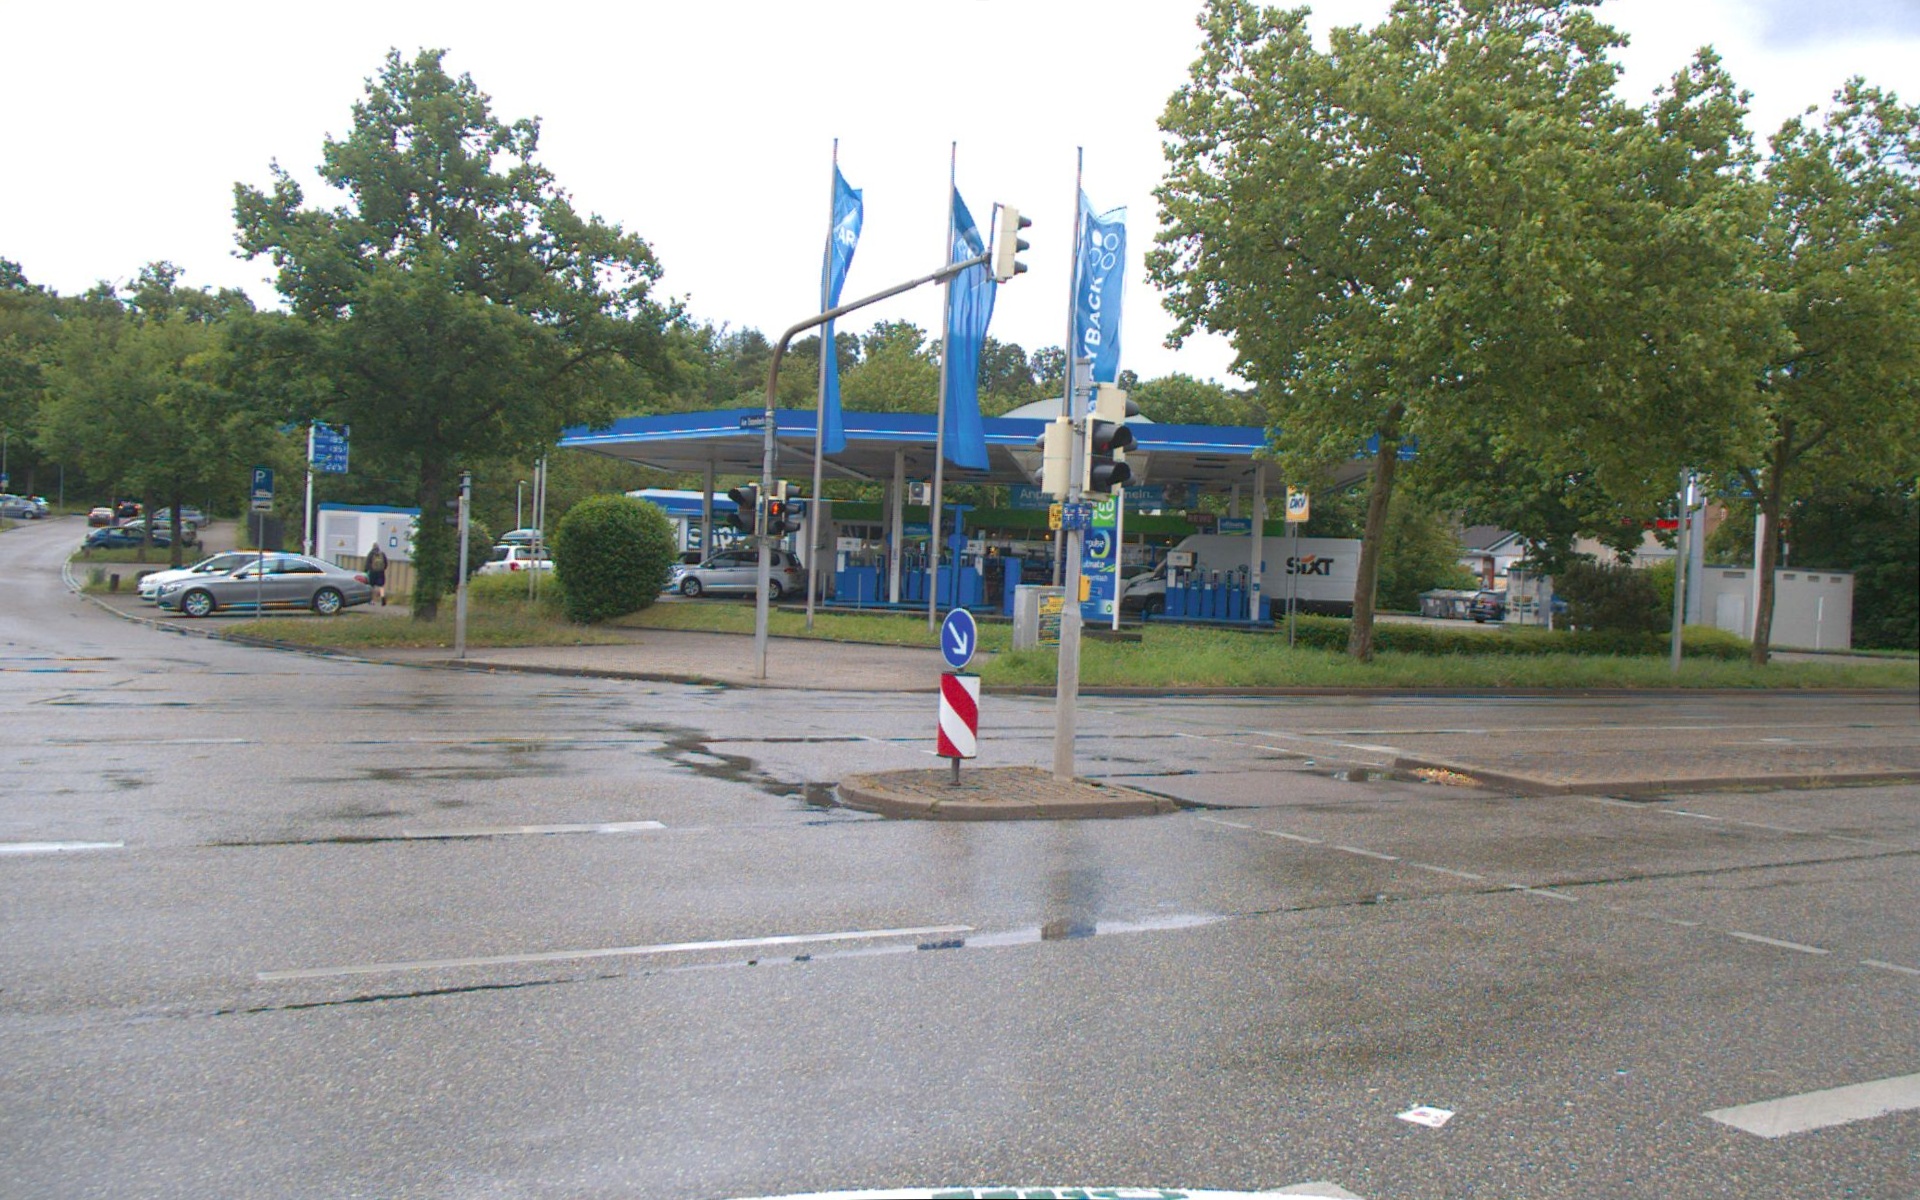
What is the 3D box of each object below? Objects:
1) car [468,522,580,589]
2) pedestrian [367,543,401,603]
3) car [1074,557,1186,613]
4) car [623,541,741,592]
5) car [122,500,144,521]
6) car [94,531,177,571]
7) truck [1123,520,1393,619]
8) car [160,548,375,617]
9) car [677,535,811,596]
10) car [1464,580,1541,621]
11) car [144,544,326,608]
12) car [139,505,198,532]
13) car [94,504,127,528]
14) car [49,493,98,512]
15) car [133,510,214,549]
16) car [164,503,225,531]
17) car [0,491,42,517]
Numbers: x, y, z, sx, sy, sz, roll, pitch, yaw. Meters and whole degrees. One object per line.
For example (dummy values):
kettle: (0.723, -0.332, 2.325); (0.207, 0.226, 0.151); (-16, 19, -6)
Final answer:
car: (-12.703, -1.293, 48.111); (1.796, 1.828, 3.649); (3, 0, -38)
pedestrian: (-16.440, -0.765, 47.206); (0.799, 1.690, 0.879); (2, 0, -27)
car: (5.629, -0.479, 54.509); (3.476, 1.609, 1.691); (4, 0, 10)
car: (-10.245, -1.229, 61.120); (3.903, 1.758, 1.796); (2, 0, 5)
car: (-77.067, -8.334, 154.164); (1.783, 1.769, 3.967); (2, 0, -26)
car: (-38.624, -2.288, 77.543); (3.418, 1.683, 1.602); (3, 0, -27)
truck: (8.762, -0.898, 49.212); (7.683, 2.722, 2.156); (1, 0, 3)
car: (-17.550, -0.427, 41.952); (4.832, 1.576, 1.981); (1, 0, -29)
car: (-7.209, -1.144, 55.446); (4.028, 1.839, 1.947); (2, 0, 6)
car: (26.313, 0.048, 80.161); (1.966, 1.870, 3.972); (1, 0, 44)
car: (-20.359, -0.655, 46.481); (4.522, 1.616, 1.911); (2, 0, -29)
car: (-60.564, -6.217, 126.543); (3.941, 1.769, 1.794); (2, 0, -28)
car: (-62.628, -6.185, 122.032); (1.782, 1.508, 3.726); (2, 0, -22)
car: (-85.160, -9.328, 158.897); (3.933, 1.557, 1.793); (1, 0, -24)
car: (-40.072, -3.570, 84.279); (3.654, 1.780, 1.682); (3, 0, -27)
car: (-55.784, -6.016, 120.535); (3.941, 1.769, 1.794); (2, 0, -28)
car: (-72.658, -7.366, 126.561); (3.934, 1.825, 1.843); (1, 0, -24)
